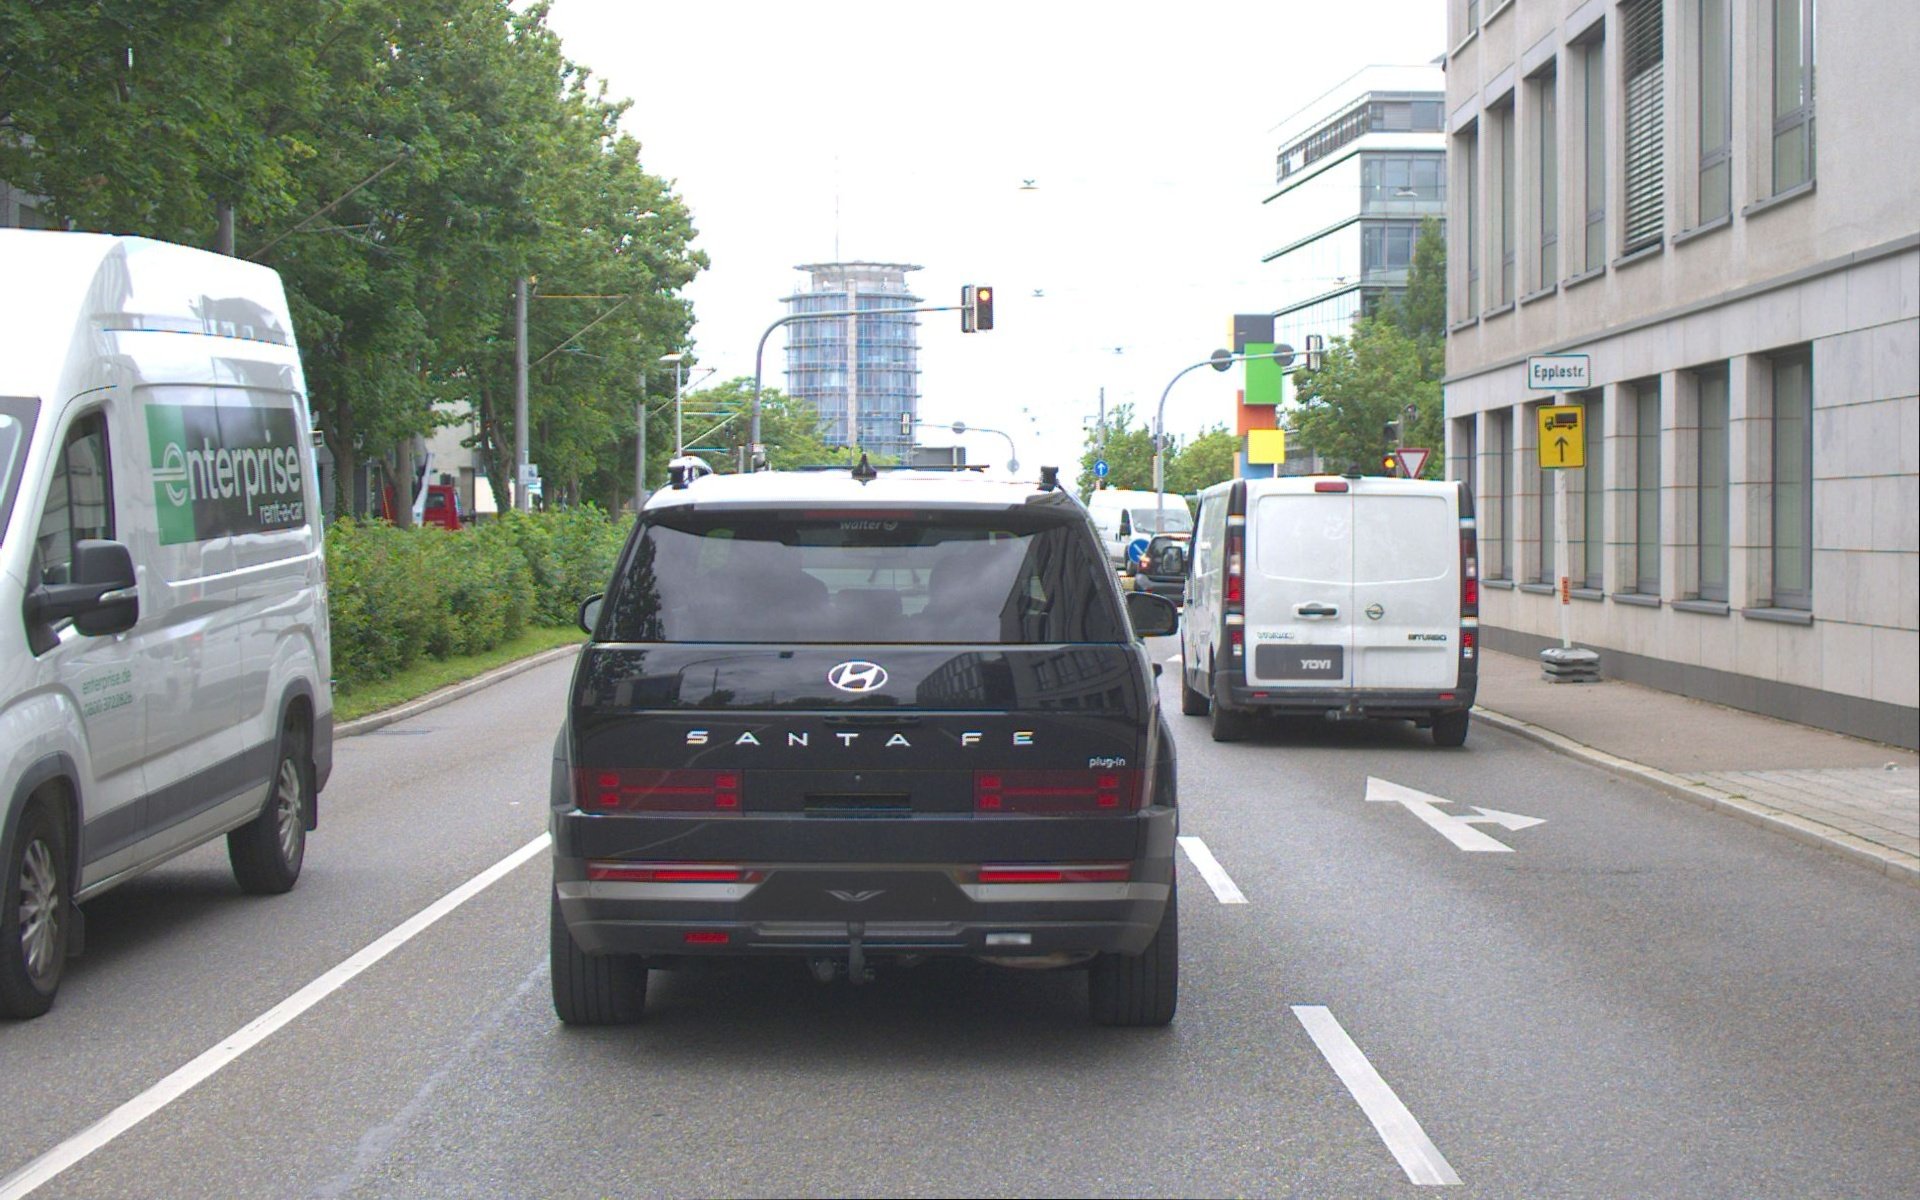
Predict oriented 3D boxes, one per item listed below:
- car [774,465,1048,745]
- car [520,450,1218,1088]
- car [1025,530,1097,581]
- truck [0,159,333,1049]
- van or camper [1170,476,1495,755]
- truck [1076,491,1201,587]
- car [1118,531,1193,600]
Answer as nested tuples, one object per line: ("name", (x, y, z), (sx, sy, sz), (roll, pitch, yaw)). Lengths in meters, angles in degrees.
("car", (-0.469, -0.010, 26.711), (1.931, 1.987, 4.536), (0, 1, -3))
("car", (-0.354, 0.432, 11.628), (1.908, 1.743, 4.397), (0, 1, -3))
("car", (3.323, -1.487, 113.657), (1.993, 1.613, 4.001), (-1, 1, -4))
("truck", (-3.923, -0.040, 12.778), (2.165, 2.606, 5.796), (0, 1, -1))
("van or camper", (2.736, 0.062, 26.182), (1.993, 1.909, 4.332), (1, 1, 0))
("truck", (5.222, -1.807, 101.615), (2.331, 2.738, 6.489), (-1, 1, -10))
("car", (4.725, -0.858, 83.085), (1.759, 1.603, 4.188), (0, 1, 3))
